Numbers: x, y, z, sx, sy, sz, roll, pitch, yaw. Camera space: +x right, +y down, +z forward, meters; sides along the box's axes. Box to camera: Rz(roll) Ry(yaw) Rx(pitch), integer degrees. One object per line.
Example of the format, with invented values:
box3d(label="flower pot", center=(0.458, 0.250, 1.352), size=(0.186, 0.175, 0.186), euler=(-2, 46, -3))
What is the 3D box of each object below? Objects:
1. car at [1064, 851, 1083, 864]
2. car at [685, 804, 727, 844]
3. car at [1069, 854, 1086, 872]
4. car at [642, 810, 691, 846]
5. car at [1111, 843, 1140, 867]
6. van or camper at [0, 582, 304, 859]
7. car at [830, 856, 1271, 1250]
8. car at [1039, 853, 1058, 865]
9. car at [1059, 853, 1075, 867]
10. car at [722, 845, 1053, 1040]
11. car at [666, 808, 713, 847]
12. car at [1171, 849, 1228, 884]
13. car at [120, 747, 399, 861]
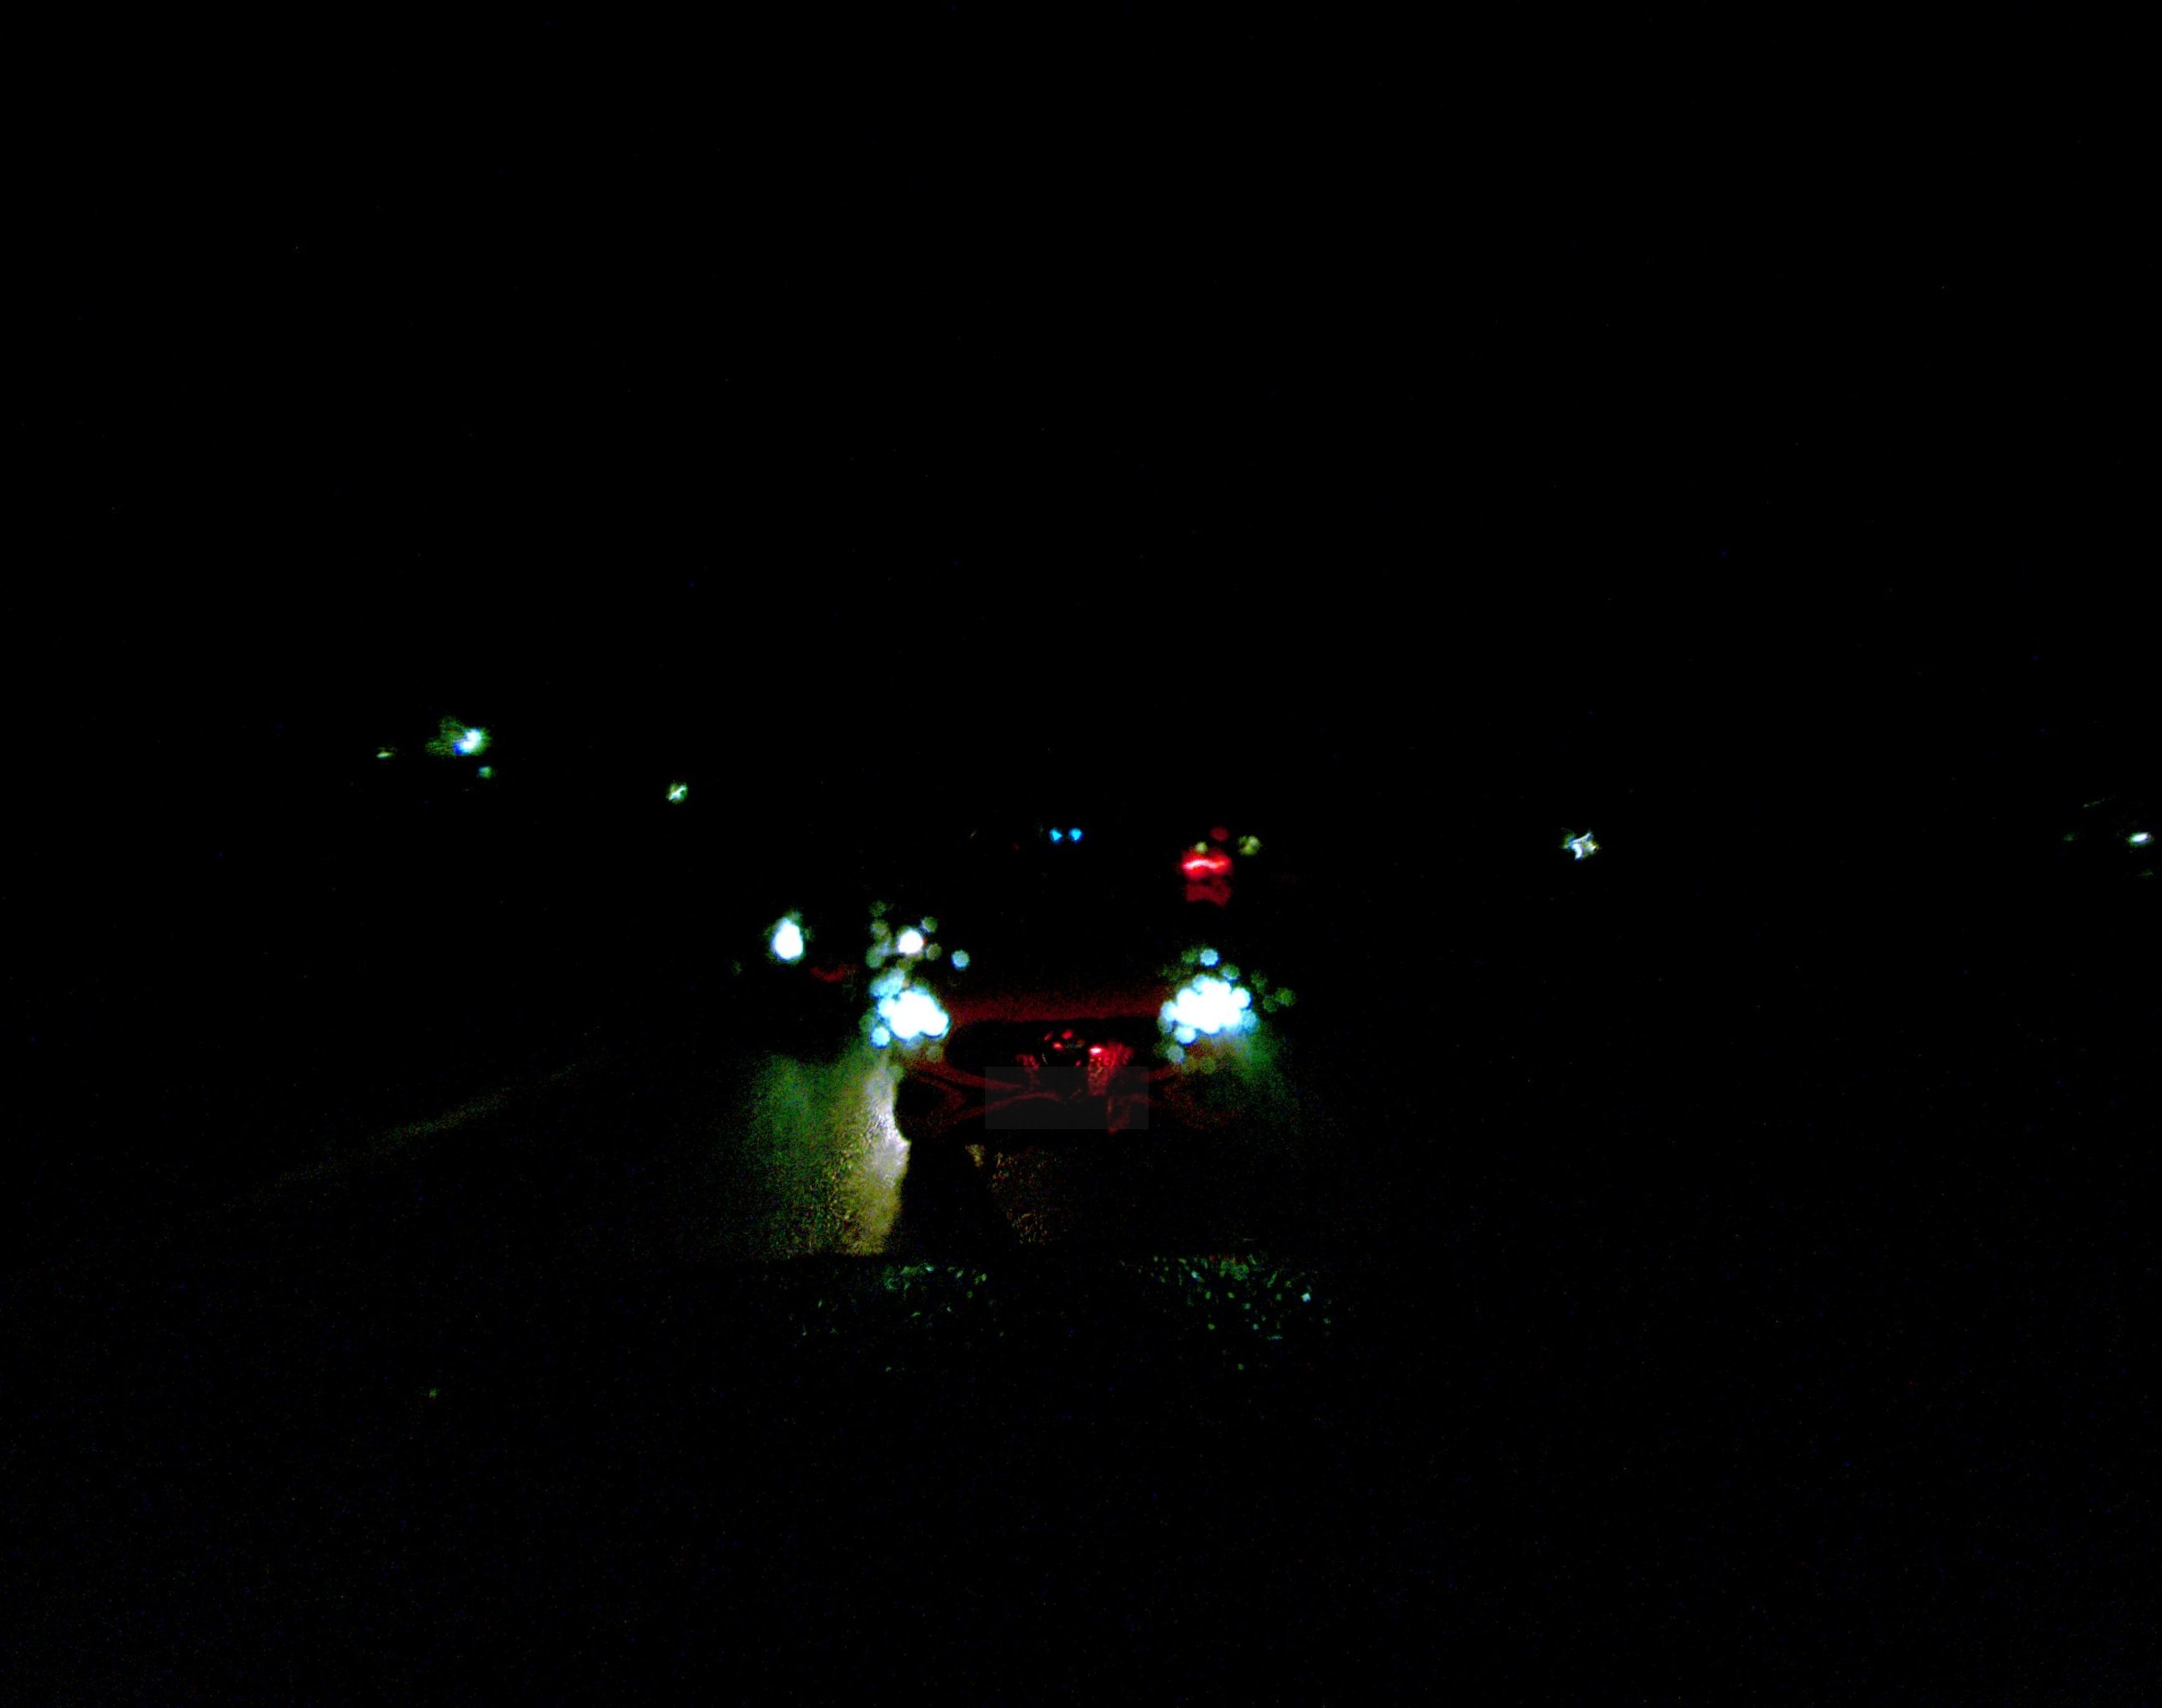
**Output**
box3d(label="car", center=(-1.068, 0.457, 102.702), size=(2.000, 1.687, 3.997), euler=(-2, 1, -7))
box3d(label="car", center=(-27.829, -2.155, 56.495), size=(1.937, 2.759, 4.249), euler=(-3, 1, -16))
box3d(label="car", center=(-0.435, 1.088, 90.415), size=(1.999, 2.002, 3.999), euler=(-2, 1, -1))
box3d(label="car", center=(-25.041, -1.519, 46.045), size=(1.735, 2.002, 3.696), euler=(-3, 1, -16))
box3d(label="car", center=(3.931, 0.057, 67.909), size=(2.090, 2.002, 4.711), euler=(-2, 1, -3))
box3d(label="van or camper", center=(-12.777, -1.371, 9.058), size=(2.417, 2.777, 5.763), euler=(-3, 1, -18))
box3d(label="car", center=(-0.099, 0.865, 5.435), size=(1.826, 1.573, 4.354), euler=(-2, 1, 1))
box3d(label="car", center=(-5.486, 0.846, 129.208), size=(2.093, 2.002, 4.706), euler=(-2, 1, -16))
box3d(label="car", center=(-2.180, 0.919, 118.185), size=(2.000, 2.002, 3.997), euler=(-2, 1, -8))
box3d(label="car", center=(-1.945, 0.811, 9.515), size=(1.837, 1.725, 4.945), euler=(-2, 1, 14))
box3d(label="car", center=(-26.357, -1.729, 51.294), size=(1.937, 2.406, 4.249), euler=(-3, 1, -16))
box3d(label="car", center=(5.684, 0.614, 37.087), size=(1.893, 1.559, 4.485), euler=(-2, -1, -2))
box3d(label="car", center=(-16.407, -0.914, 15.545), size=(2.001, 2.002, 3.994), euler=(-3, 1, -16))
